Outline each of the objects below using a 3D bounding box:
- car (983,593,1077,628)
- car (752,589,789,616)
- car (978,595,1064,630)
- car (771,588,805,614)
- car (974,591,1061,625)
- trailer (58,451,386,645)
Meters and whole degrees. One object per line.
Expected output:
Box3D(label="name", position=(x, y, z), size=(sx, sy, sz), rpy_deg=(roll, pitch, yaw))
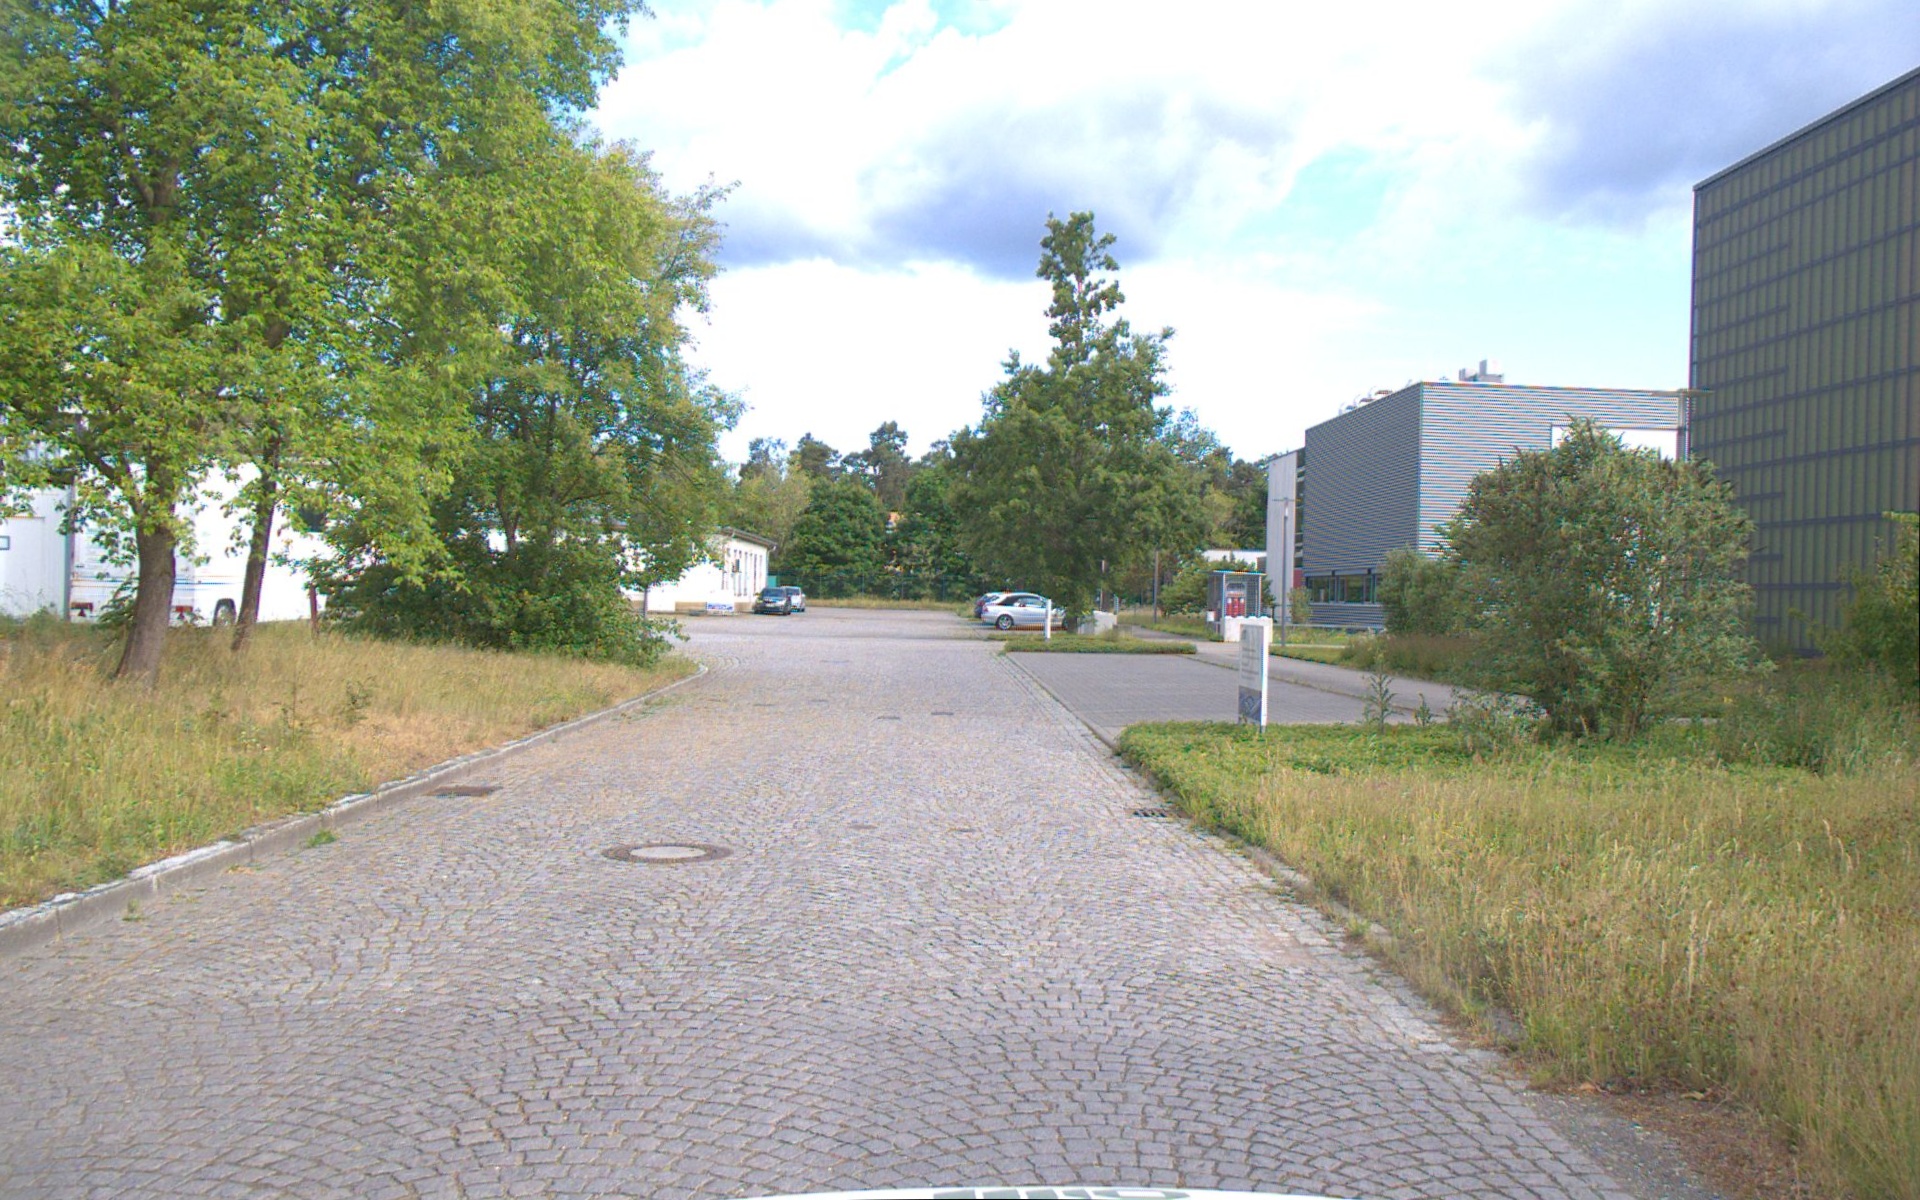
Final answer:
Box3D(label="car", position=(2.956, 0.450, 70.537), size=(3.903, 1.473, 1.653), rpy_deg=(0, 0, -1))
Box3D(label="car", position=(-10.171, 0.135, 89.039), size=(1.614, 1.393, 3.997), rpy_deg=(2, 0, -1))
Box3D(label="car", position=(2.488, 0.513, 67.829), size=(3.451, 1.386, 1.622), rpy_deg=(0, 0, -1))
Box3D(label="car", position=(-10.313, 0.051, 99.379), size=(1.614, 1.483, 3.997), rpy_deg=(2, 0, -1))
Box3D(label="car", position=(2.598, 0.365, 75.659), size=(3.903, 1.501, 1.653), rpy_deg=(0, 0, -1))
Box3D(label="trailer", position=(-16.033, -1.018, 37.068), size=(2.571, 3.660, 10.178), rpy_deg=(2, 0, 1))
